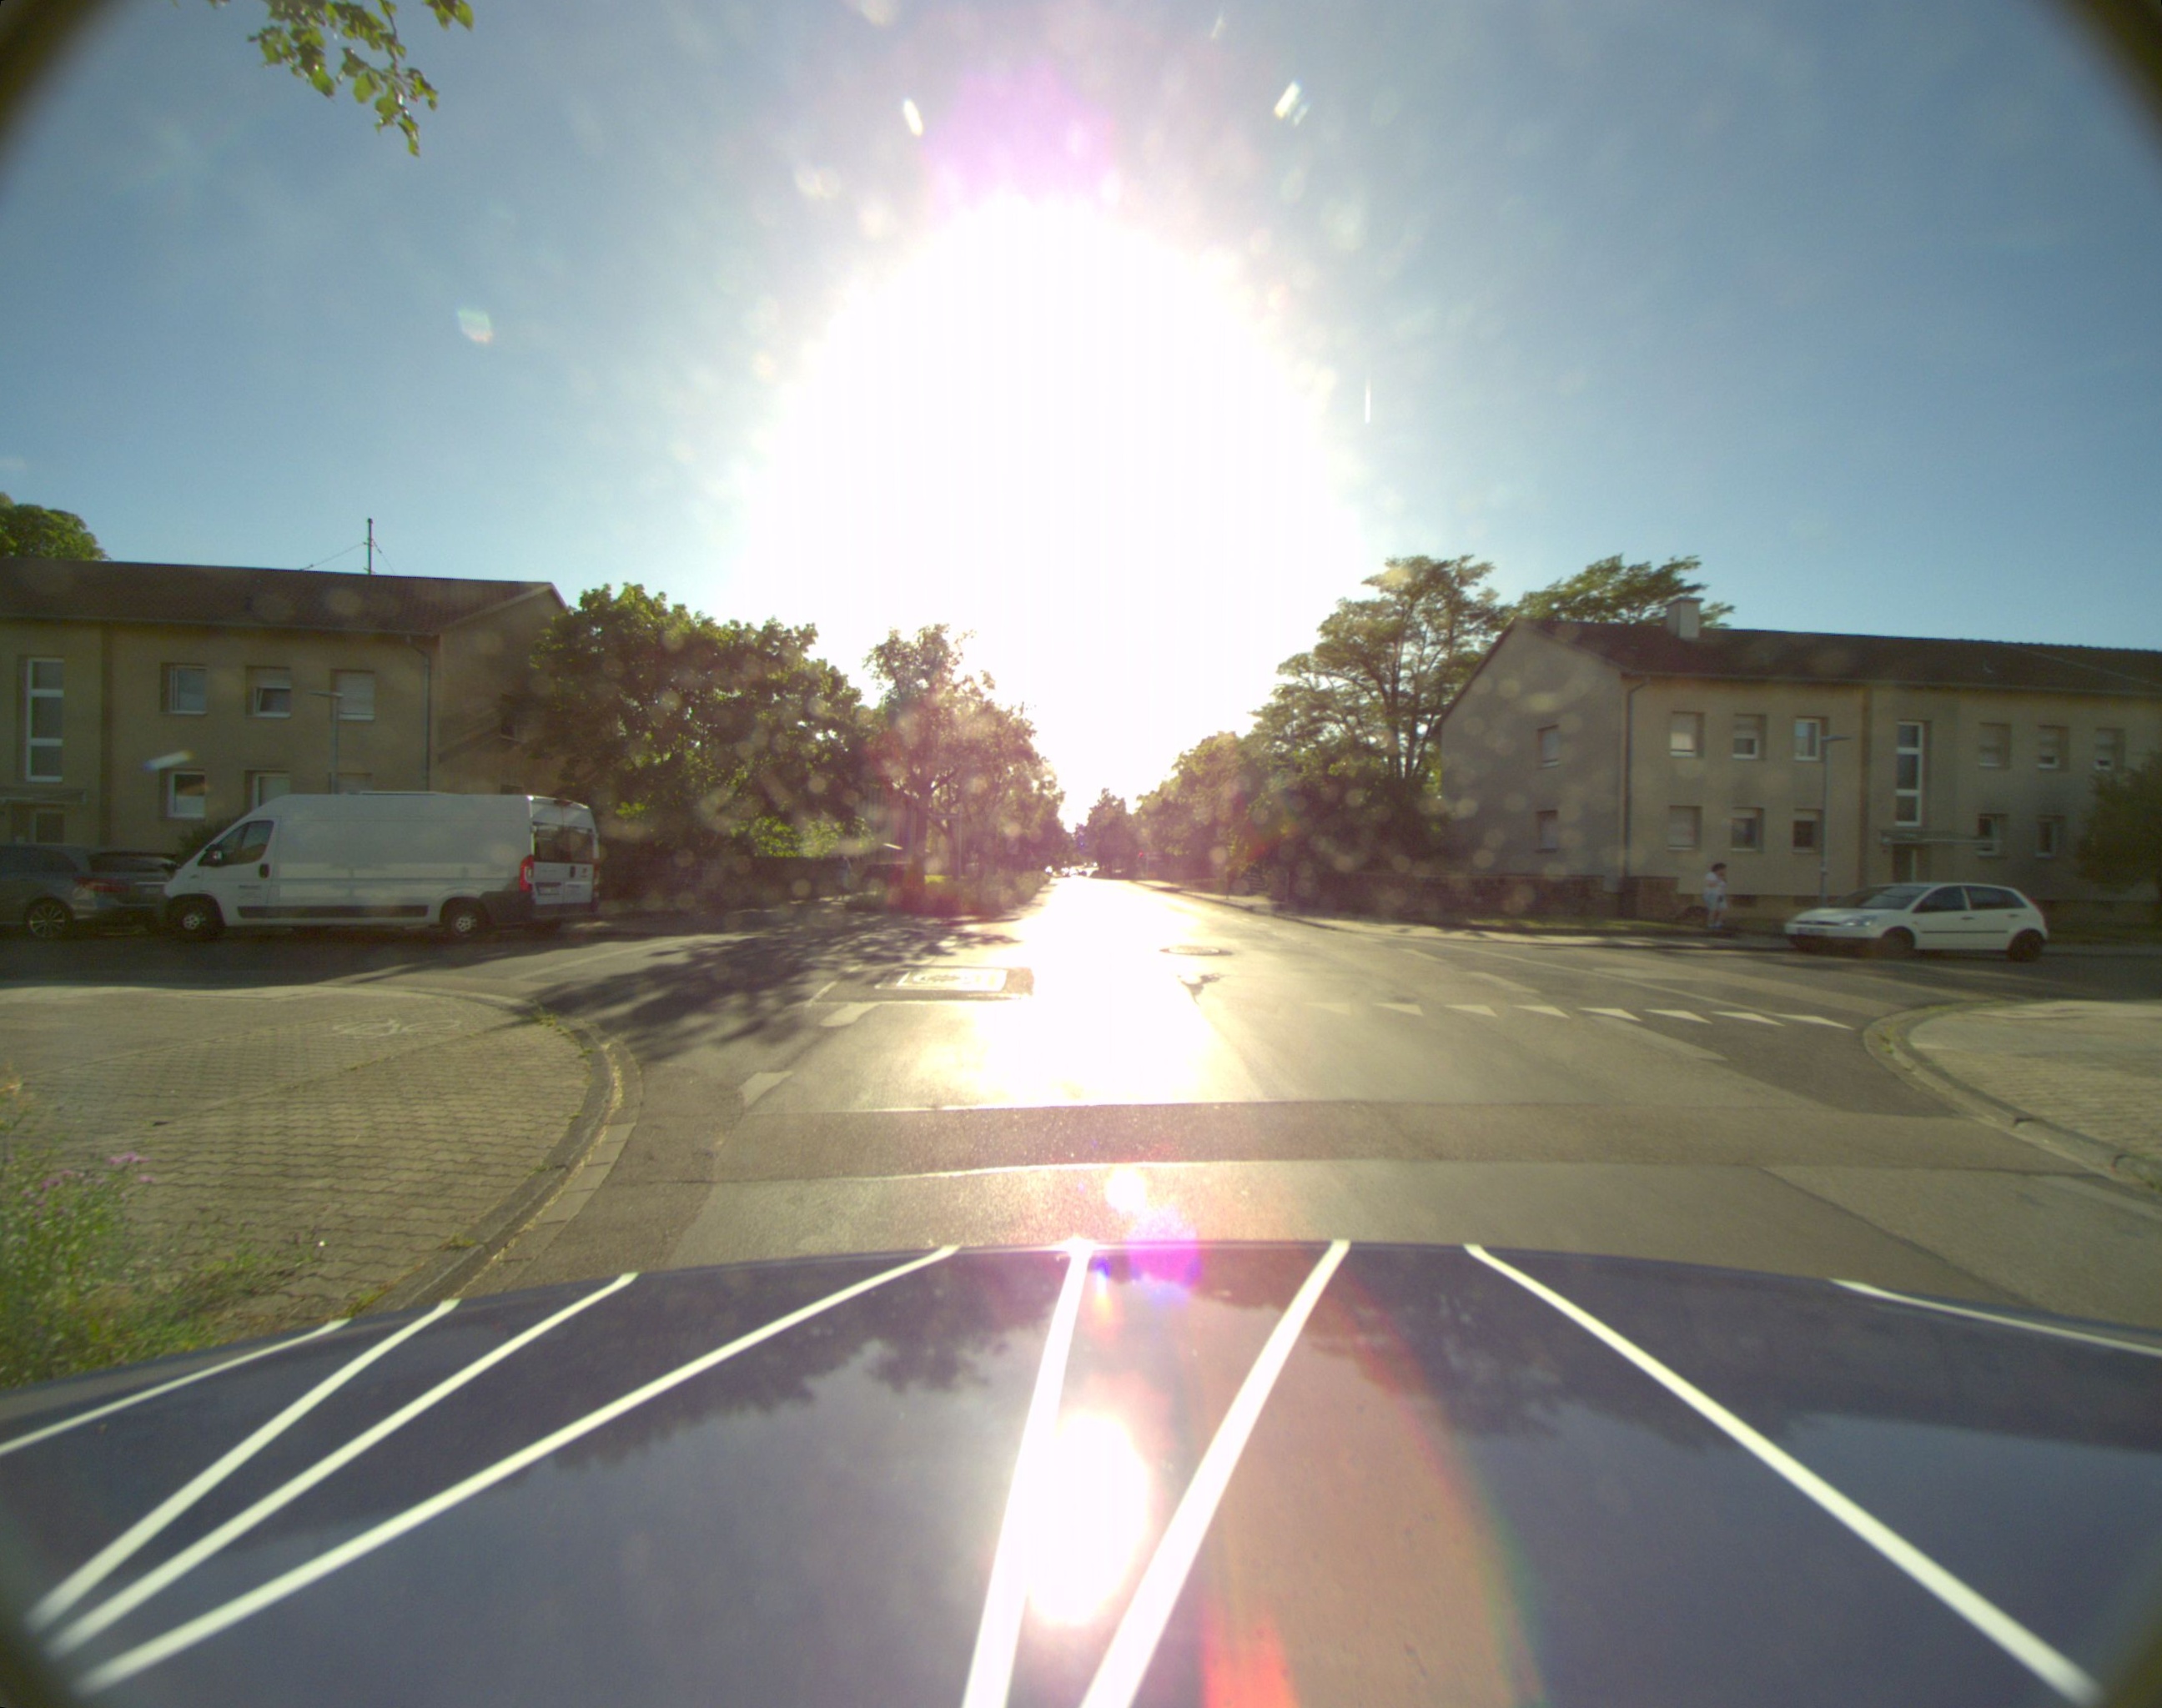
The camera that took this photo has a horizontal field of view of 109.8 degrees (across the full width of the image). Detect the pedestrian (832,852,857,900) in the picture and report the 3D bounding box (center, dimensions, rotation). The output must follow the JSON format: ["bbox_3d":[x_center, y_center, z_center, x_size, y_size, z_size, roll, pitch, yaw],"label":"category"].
[{"bbox_3d":[-8.640,0.809,27.798,0.638,1.695,0.612,3,-1,-2],"label":"pedestrian"}]

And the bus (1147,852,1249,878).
[{"bbox_3d":[14.622,1.401,95.030,12.458,3.079,3.134,-1,-1,11],"label":"bus"}]

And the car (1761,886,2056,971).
[{"bbox_3d":[15.832,1.393,14.689,3.777,1.470,1.871,1,-2,-3],"label":"car"}]

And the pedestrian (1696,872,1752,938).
[{"bbox_3d":[15.390,1.205,18.205,0.786,1.544,0.639,-1,-1,-4],"label":"pedestrian"}]

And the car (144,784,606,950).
[{"bbox_3d":[-11.770,0.238,13.099,5.611,2.524,2.265,1,0,-4],"label":"car"}]

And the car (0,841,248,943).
[{"bbox_3d":[-17.748,0.628,12.790,4.754,1.572,2.285,-1,-1,-4],"label":"car"}]
